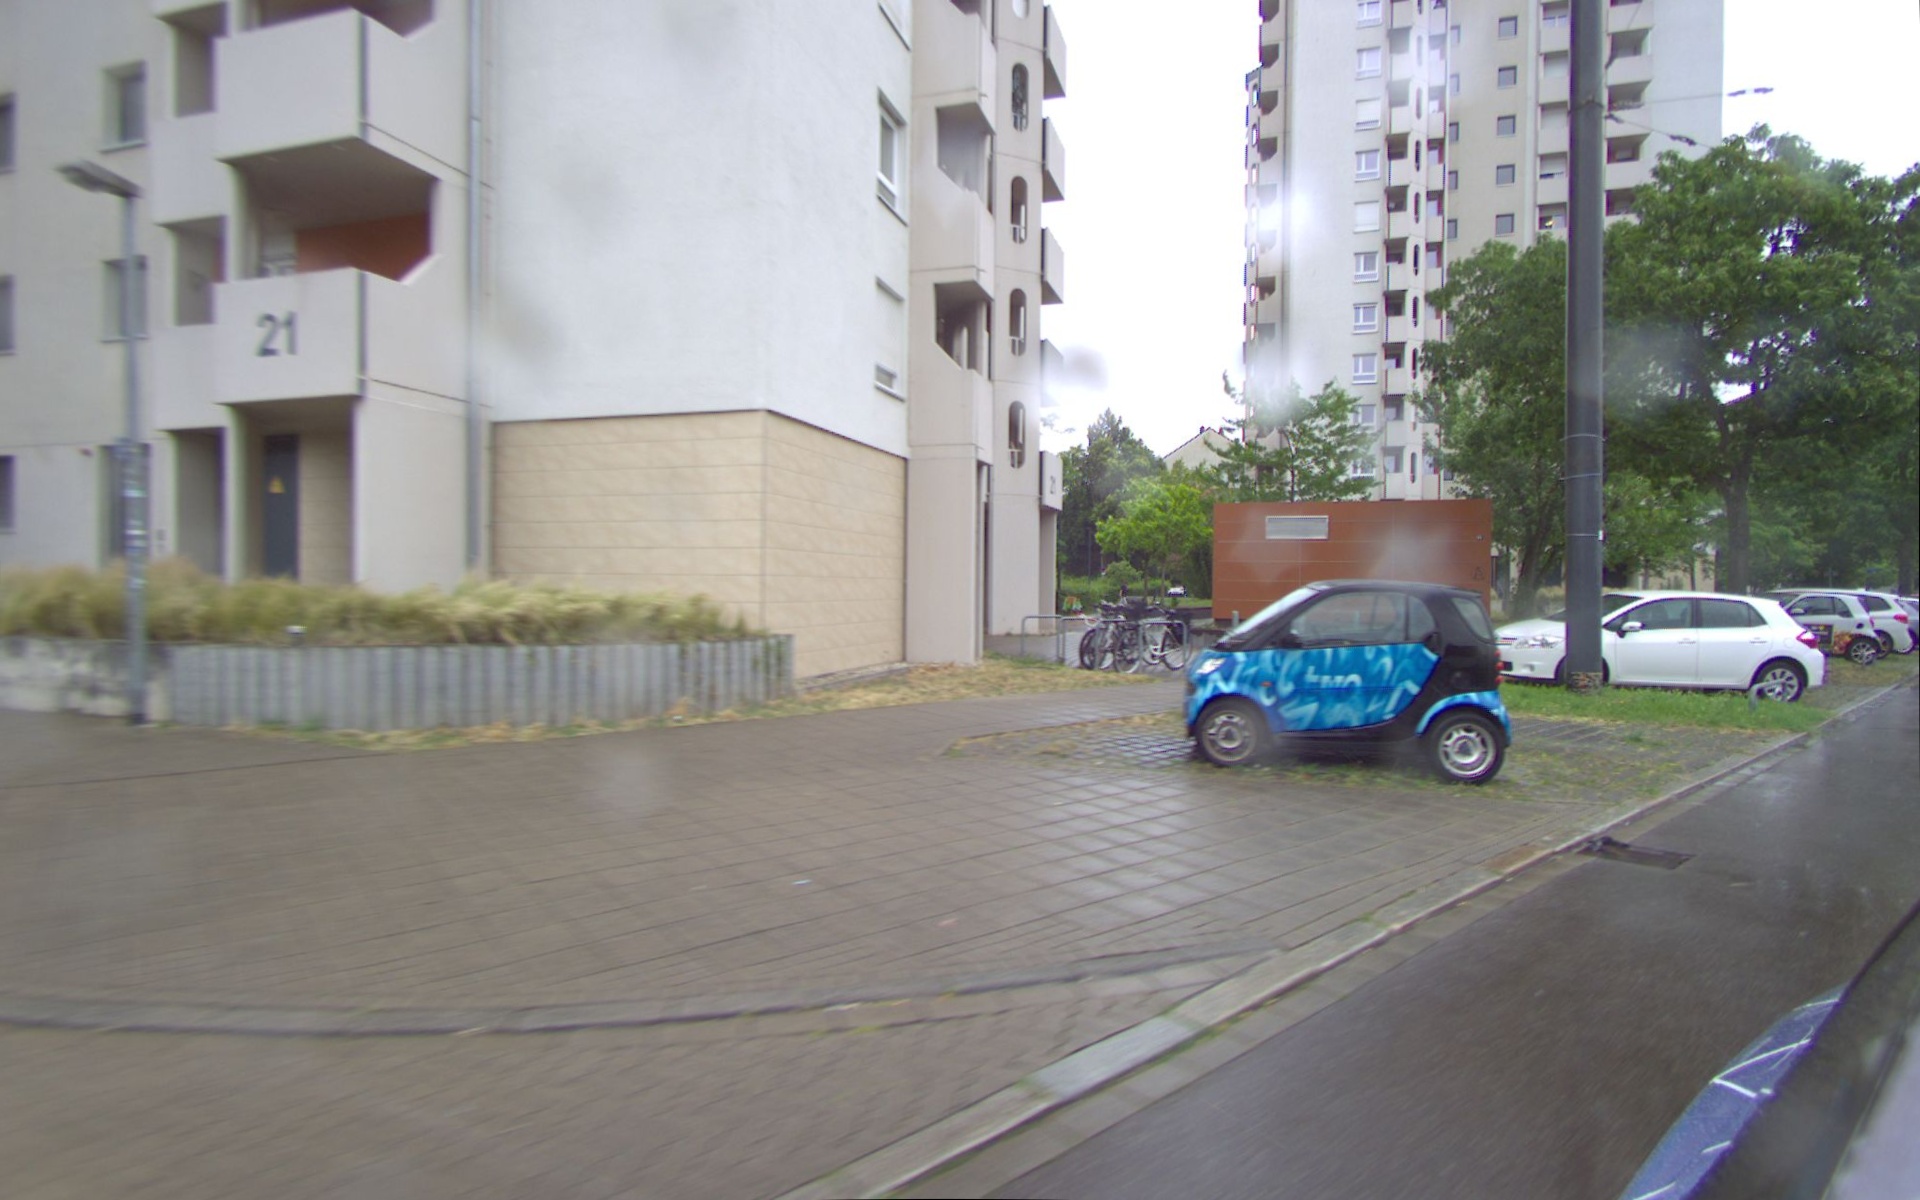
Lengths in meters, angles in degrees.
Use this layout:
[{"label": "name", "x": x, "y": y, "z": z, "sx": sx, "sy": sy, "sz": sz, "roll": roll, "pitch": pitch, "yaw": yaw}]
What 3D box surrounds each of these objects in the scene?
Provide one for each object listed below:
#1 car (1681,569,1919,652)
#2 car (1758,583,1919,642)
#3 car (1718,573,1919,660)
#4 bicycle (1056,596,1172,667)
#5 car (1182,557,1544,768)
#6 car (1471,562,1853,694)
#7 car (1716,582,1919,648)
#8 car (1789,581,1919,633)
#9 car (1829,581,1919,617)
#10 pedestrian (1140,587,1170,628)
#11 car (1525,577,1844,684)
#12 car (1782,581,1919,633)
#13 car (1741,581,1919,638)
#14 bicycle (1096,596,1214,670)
[{"label": "car", "x": 20.495, "y": 0.216, "z": 24.597, "sx": 4.389, "sy": 1.692, "sz": 1.808, "roll": 3, "pitch": 2, "yaw": 10}, {"label": "car", "x": 25.649, "y": 0.366, "z": 28.662, "sx": 4.398, "sy": 1.445, "sz": 1.677, "roll": 4, "pitch": 2, "yaw": 15}, {"label": "car", "x": 19.608, "y": 0.350, "z": 22.387, "sx": 4.122, "sy": 1.692, "sz": 1.679, "roll": 3, "pitch": 2, "yaw": 12}, {"label": "bicycle", "x": 2.459, "y": 0.461, "z": 15.995, "sx": 2.023, "sy": 1.018, "sz": 0.662, "roll": -2, "pitch": 1, "yaw": -41}, {"label": "car", "x": 3.231, "y": 0.438, "z": 8.573, "sx": 2.523, "sy": 1.567, "sz": 1.599, "roll": 1, "pitch": 1, "yaw": 9}, {"label": "car", "x": 10.023, "y": 0.338, "z": 14.785, "sx": 4.118, "sy": 1.567, "sz": 1.761, "roll": 3, "pitch": 2, "yaw": 9}, {"label": "car", "x": 22.921, "y": 0.371, "z": 26.627, "sx": 4.397, "sy": 1.427, "sz": 1.761, "roll": 4, "pitch": 2, "yaw": 15}, {"label": "car", "x": 31.927, "y": 0.257, "z": 35.144, "sx": 4.401, "sy": 1.560, "sz": 1.676, "roll": 4, "pitch": 3, "yaw": 17}, {"label": "car", "x": 43.471, "y": -0.021, "z": 47.238, "sx": 3.986, "sy": 1.507, "sz": 1.718, "roll": 3, "pitch": 2, "yaw": 13}, {"label": "pedestrian", "x": 9.886, "y": 0.358, "z": 51.351, "sx": 1.262, "sy": 2.039, "sz": 1.303, "roll": -1, "pitch": 0, "yaw": 21}, {"label": "car", "x": 11.921, "y": 0.443, "z": 16.925, "sx": 3.884, "sy": 1.449, "sz": 1.679, "roll": 3, "pitch": 2, "yaw": 12}, {"label": "car", "x": 29.790, "y": 0.244, "z": 32.838, "sx": 4.397, "sy": 1.483, "sz": 1.812, "roll": 4, "pitch": 2, "yaw": 15}, {"label": "car", "x": 27.146, "y": 0.281, "z": 31.222, "sx": 4.391, "sy": 1.445, "sz": 1.804, "roll": 3, "pitch": 2, "yaw": 11}, {"label": "bicycle", "x": 2.984, "y": 0.463, "z": 15.381, "sx": 2.023, "sy": 1.018, "sz": 0.662, "roll": -2, "pitch": 1, "yaw": -41}]
